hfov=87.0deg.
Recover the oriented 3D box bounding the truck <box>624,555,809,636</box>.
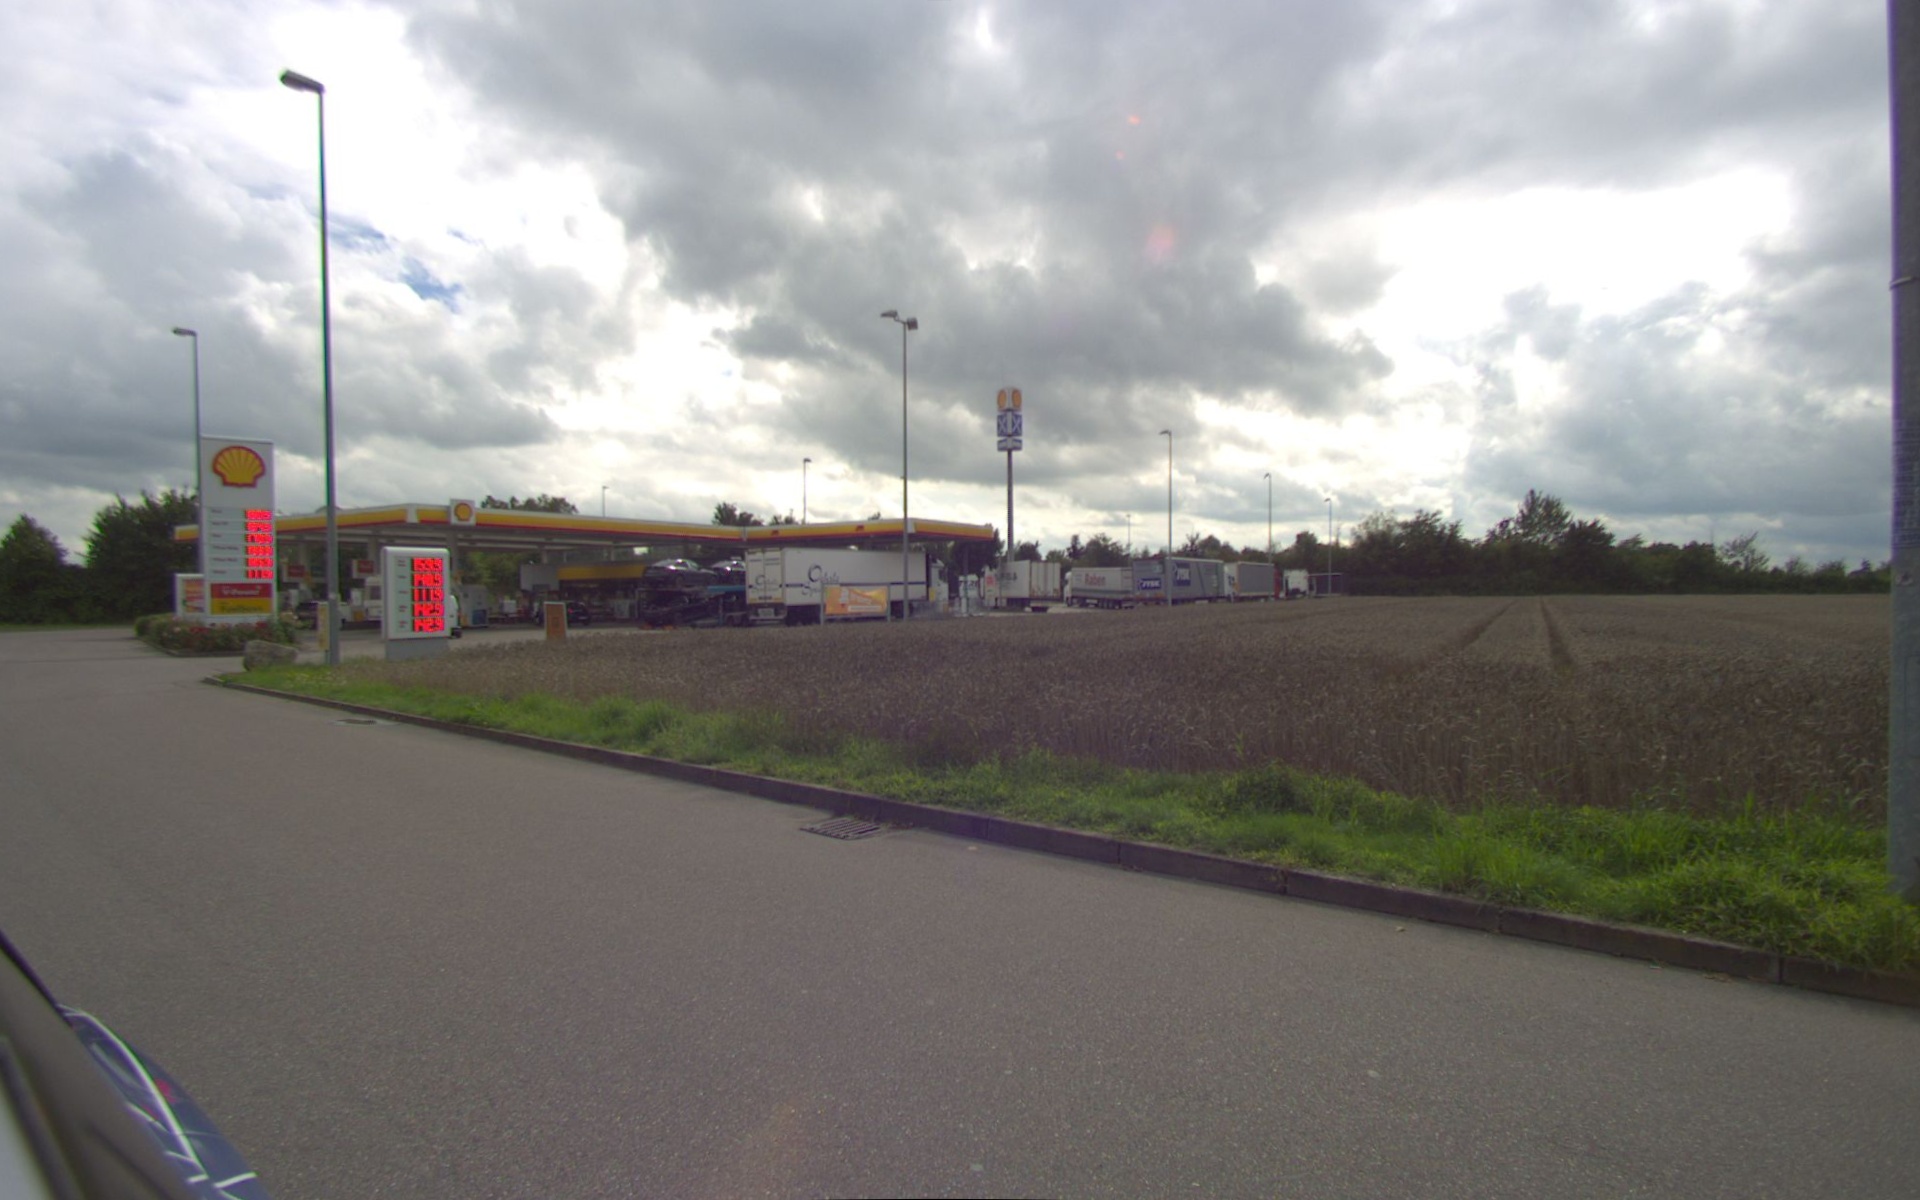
[{"bbox_3d":[-12.971,-0.288,55.913,2.734,3.953,13.158,0,1,23],"label":"truck"}]

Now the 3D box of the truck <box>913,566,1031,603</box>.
[{"bbox_3d":[1.376,-1.755,112.978,12.796,3.922,2.832,0,1,-13],"label":"truck"}]

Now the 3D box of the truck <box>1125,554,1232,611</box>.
[{"bbox_3d":[16.997,-1.295,77.293,2.816,3.922,15.289,0,1,33],"label":"truck"}]

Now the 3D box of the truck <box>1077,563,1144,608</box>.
[{"bbox_3d":[14.786,-1.352,100.587,2.946,4.142,11.600,-1,0,-10],"label":"truck"}]

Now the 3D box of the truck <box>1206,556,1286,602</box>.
[{"bbox_3d":[26.667,-1.887,93.489,2.816,3.922,15.289,0,1,33],"label":"truck"}]

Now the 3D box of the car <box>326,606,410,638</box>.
[{"bbox_3d":[-31.235,1.128,53.510,1.974,1.571,3.957,-1,0,3],"label":"car"}]

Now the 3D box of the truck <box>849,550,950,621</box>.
[{"bbox_3d":[-3.598,-0.855,62.280,2.702,4.055,7.095,-1,0,30],"label":"truck"}]

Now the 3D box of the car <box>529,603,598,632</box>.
[{"bbox_3d":[-23.447,1.038,59.828,3.743,1.613,1.701,-1,0,27],"label":"car"}]

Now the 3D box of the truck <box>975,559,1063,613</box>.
[{"bbox_3d":[4.660,-1.169,84.957,2.913,4.143,14.790,0,1,-14],"label":"truck"}]

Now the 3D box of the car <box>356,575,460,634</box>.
[{"bbox_3d":[-28.003,0.203,51.634,2.193,2.808,5.810,-1,0,-1],"label":"car"}]

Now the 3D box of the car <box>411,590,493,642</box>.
[{"bbox_3d":[-21.355,0.659,42.698,1.769,2.027,3.886,-1,0,-6],"label":"car"}]

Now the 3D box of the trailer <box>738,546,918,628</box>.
[{"bbox_3d":[-6.929,-0.721,56.501,2.702,4.055,12.715,-1,0,30],"label":"trailer"}]

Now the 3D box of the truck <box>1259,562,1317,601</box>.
[{"bbox_3d":[35.445,-1.934,108.931,2.816,3.922,12.666,0,1,33],"label":"truck"}]
